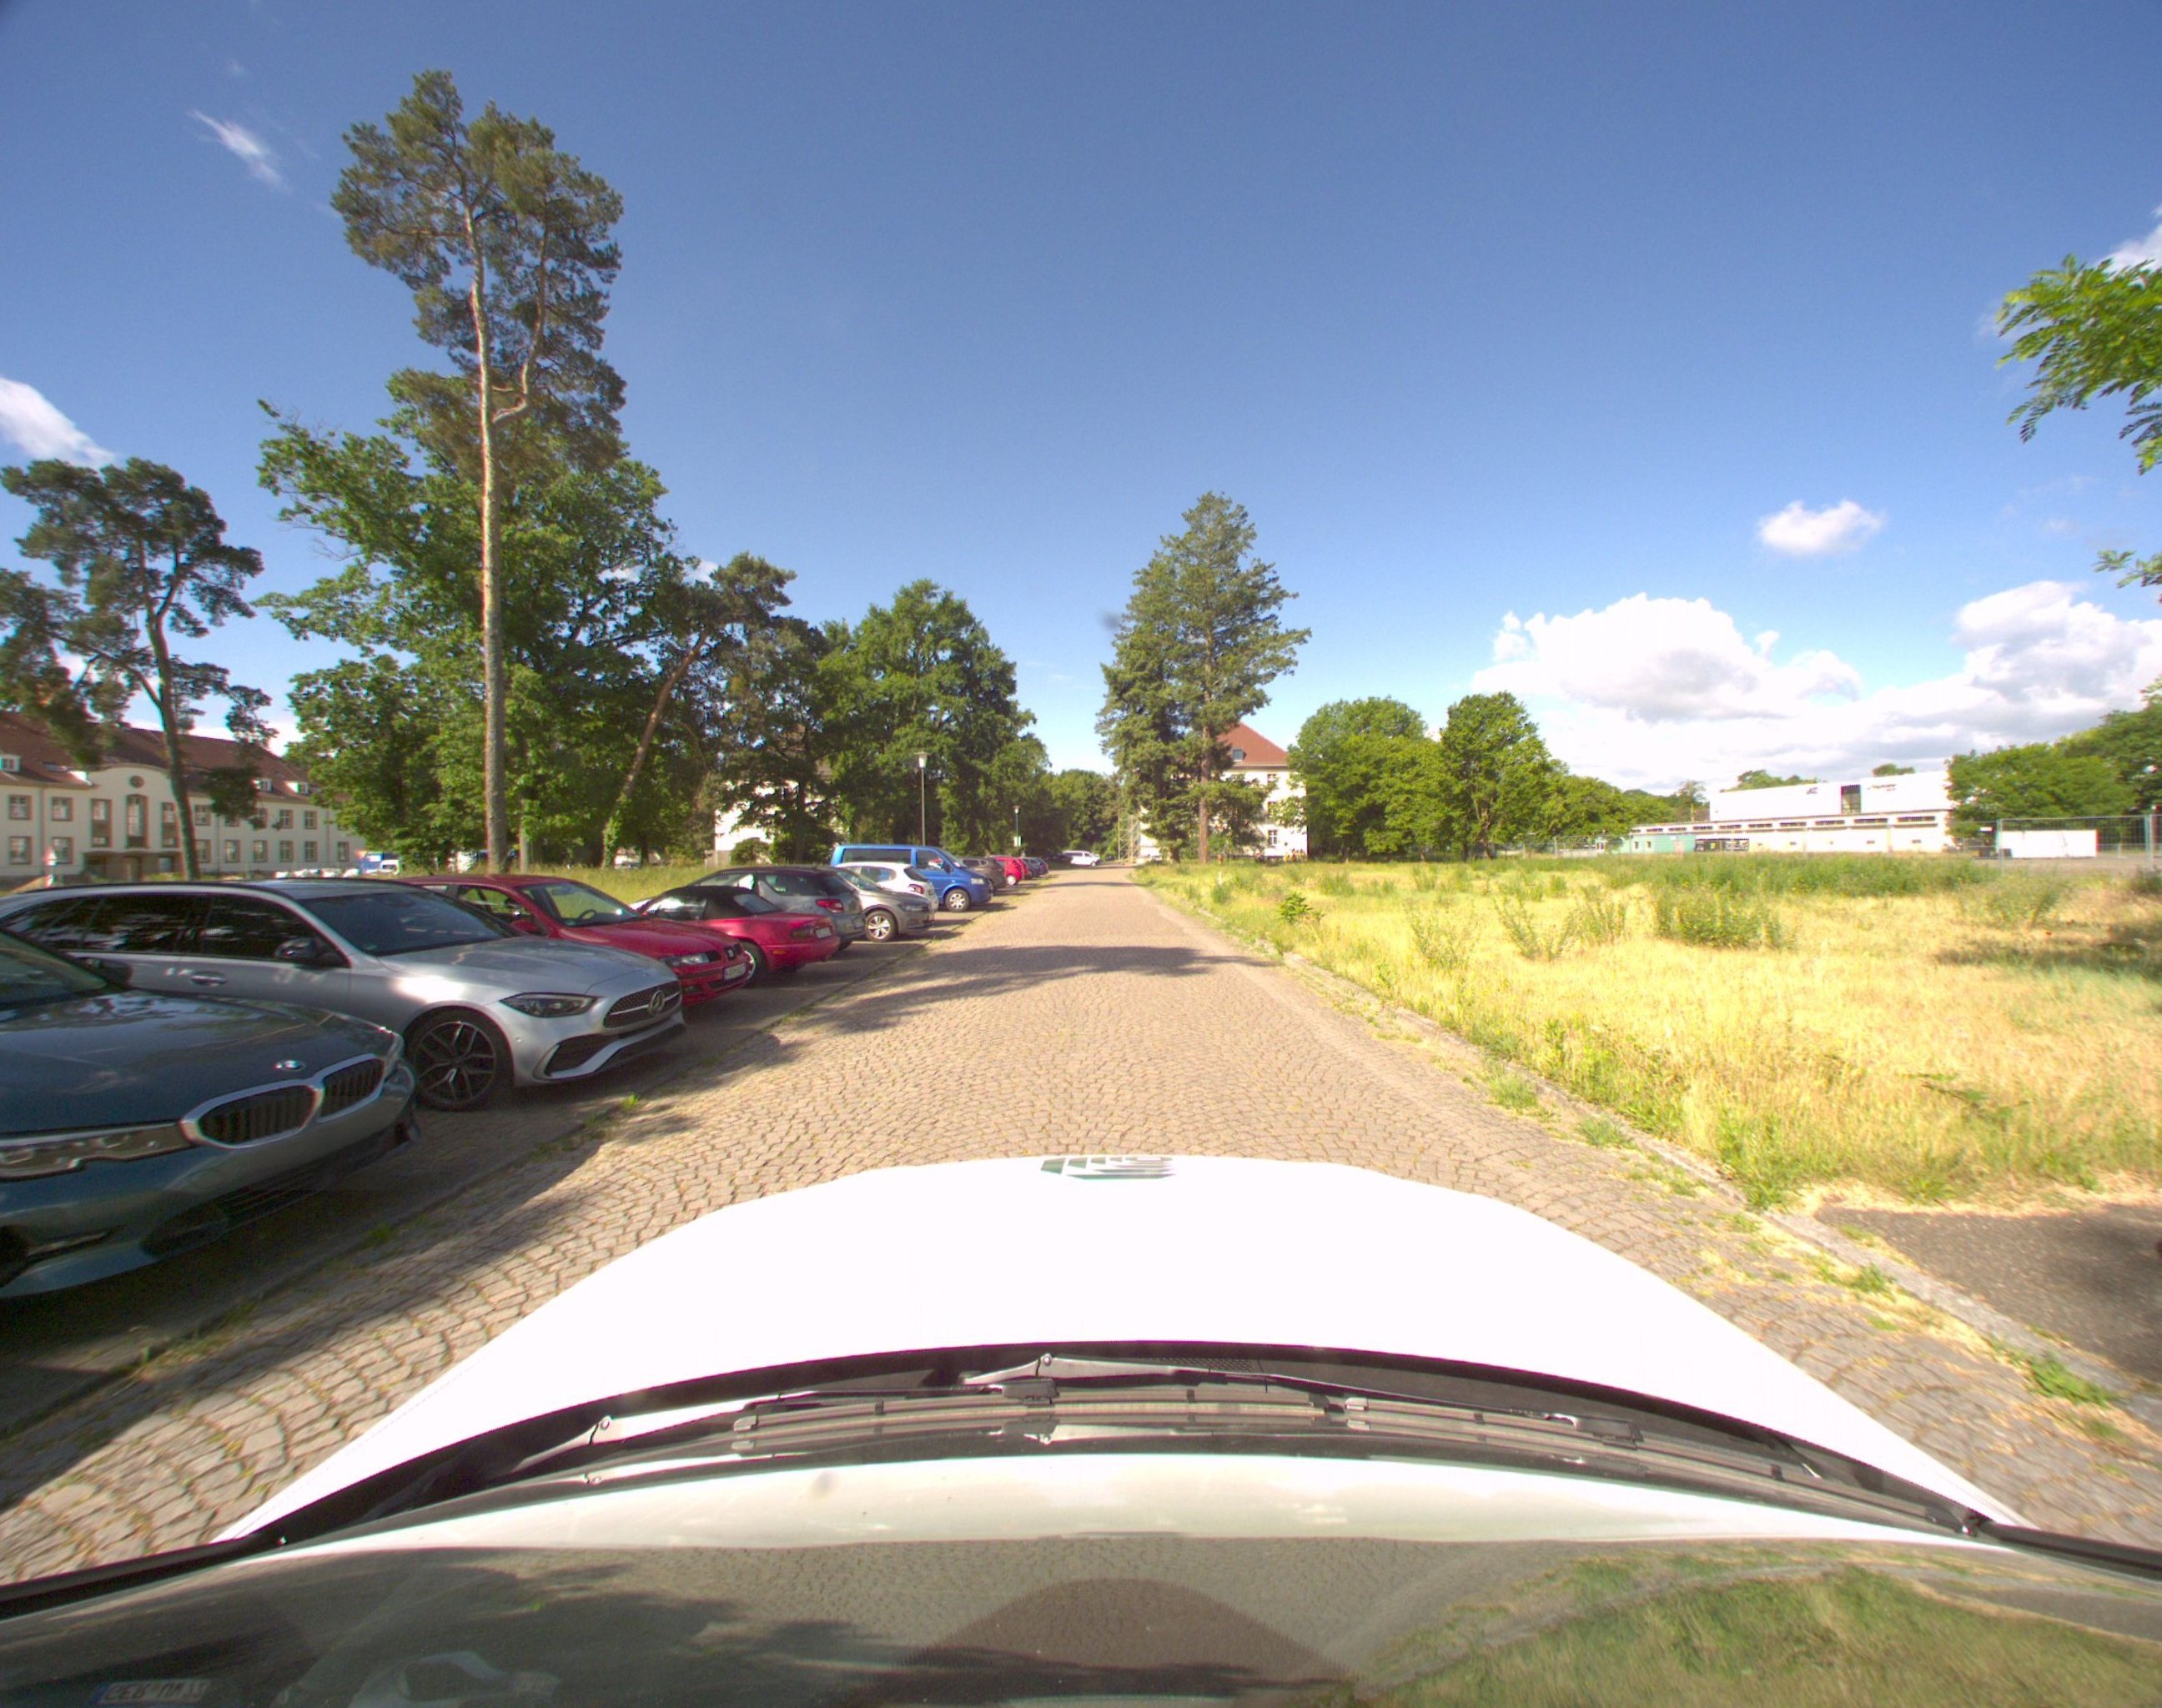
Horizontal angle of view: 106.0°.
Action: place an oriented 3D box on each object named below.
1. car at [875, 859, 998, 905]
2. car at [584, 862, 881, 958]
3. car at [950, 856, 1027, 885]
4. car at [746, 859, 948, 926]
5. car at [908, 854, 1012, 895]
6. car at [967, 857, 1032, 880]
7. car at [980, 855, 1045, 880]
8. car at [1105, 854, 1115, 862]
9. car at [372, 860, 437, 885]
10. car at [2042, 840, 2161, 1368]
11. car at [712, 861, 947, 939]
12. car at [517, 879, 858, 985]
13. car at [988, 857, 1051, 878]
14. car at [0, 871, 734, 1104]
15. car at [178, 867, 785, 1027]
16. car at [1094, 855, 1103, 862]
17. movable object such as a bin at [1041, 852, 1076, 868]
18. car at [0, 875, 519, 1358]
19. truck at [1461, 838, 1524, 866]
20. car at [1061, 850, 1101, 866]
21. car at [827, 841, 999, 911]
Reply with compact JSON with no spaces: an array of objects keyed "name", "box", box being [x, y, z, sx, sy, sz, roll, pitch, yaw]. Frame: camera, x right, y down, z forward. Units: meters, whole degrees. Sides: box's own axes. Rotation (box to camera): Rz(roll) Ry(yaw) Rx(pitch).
[{"name":"car","box":[-4.738,0.899,27.113,3.806,1.440,1.681,1,0,-3]},{"name":"car","box":[-5.597,0.875,13.448,4.061,1.452,1.822,0,-1,1]},{"name":"car","box":[-4.909,0.882,43.774,3.912,1.461,1.841,0,0,-1]},{"name":"car","box":[-5.411,0.871,19.216,4.182,1.475,1.824,0,0,0]},{"name":"car","box":[-4.894,0.817,33.448,3.942,1.567,1.973,1,1,-1]},{"name":"car","box":[-5.137,0.891,51.661,3.908,1.433,1.843,0,0,1]},{"name":"car","box":[-4.521,0.865,54.057,4.121,1.579,1.884,0,0,0]},{"name":"car","box":[6.197,0.862,173.915,1.964,1.668,4.086,-1,0,0]},{"name":"car","box":[-67.374,1.805,81.256,1.977,2.436,5.278,-1,0,2]},{"name":"car","box":[4.878,0.594,1.685,3.730,1.476,1.751,-4,0,-2]},{"name":"car","box":[-4.914,0.870,16.333,4.061,1.425,1.924,0,0,1]},{"name":"car","box":[-5.027,0.971,10.778,3.617,1.234,1.760,0,-1,1]},{"name":"car","box":[-4.402,0.956,58.739,4.341,1.445,1.922,0,0,3]},{"name":"car","box":[-5.476,0.863,6.124,4.847,1.421,1.938,0,-1,1]},{"name":"car","box":[-5.876,0.870,8.468,4.847,1.421,1.939,0,0,1]},{"name":"car","box":[3.797,0.962,173.618,1.806,1.579,4.134,-1,0,0]},{"name":"movable object such as a bin","box":[-2.620,0.704,94.523,3.536,1.744,2.035,-1,0,19]},{"name":"car","box":[-5.377,0.832,3.404,4.570,1.452,1.982,0,-1,-3]},{"name":"truck","box":[37.573,-0.180,74.603,2.226,2.424,6.885,1,0,0]},{"name":"car","box":[0.015,0.564,107.615,5.217,2.016,1.950,-1,0,0]},{"name":"car","box":[-4.947,0.628,24.503,4.702,1.968,2.005,1,0,0]}]
